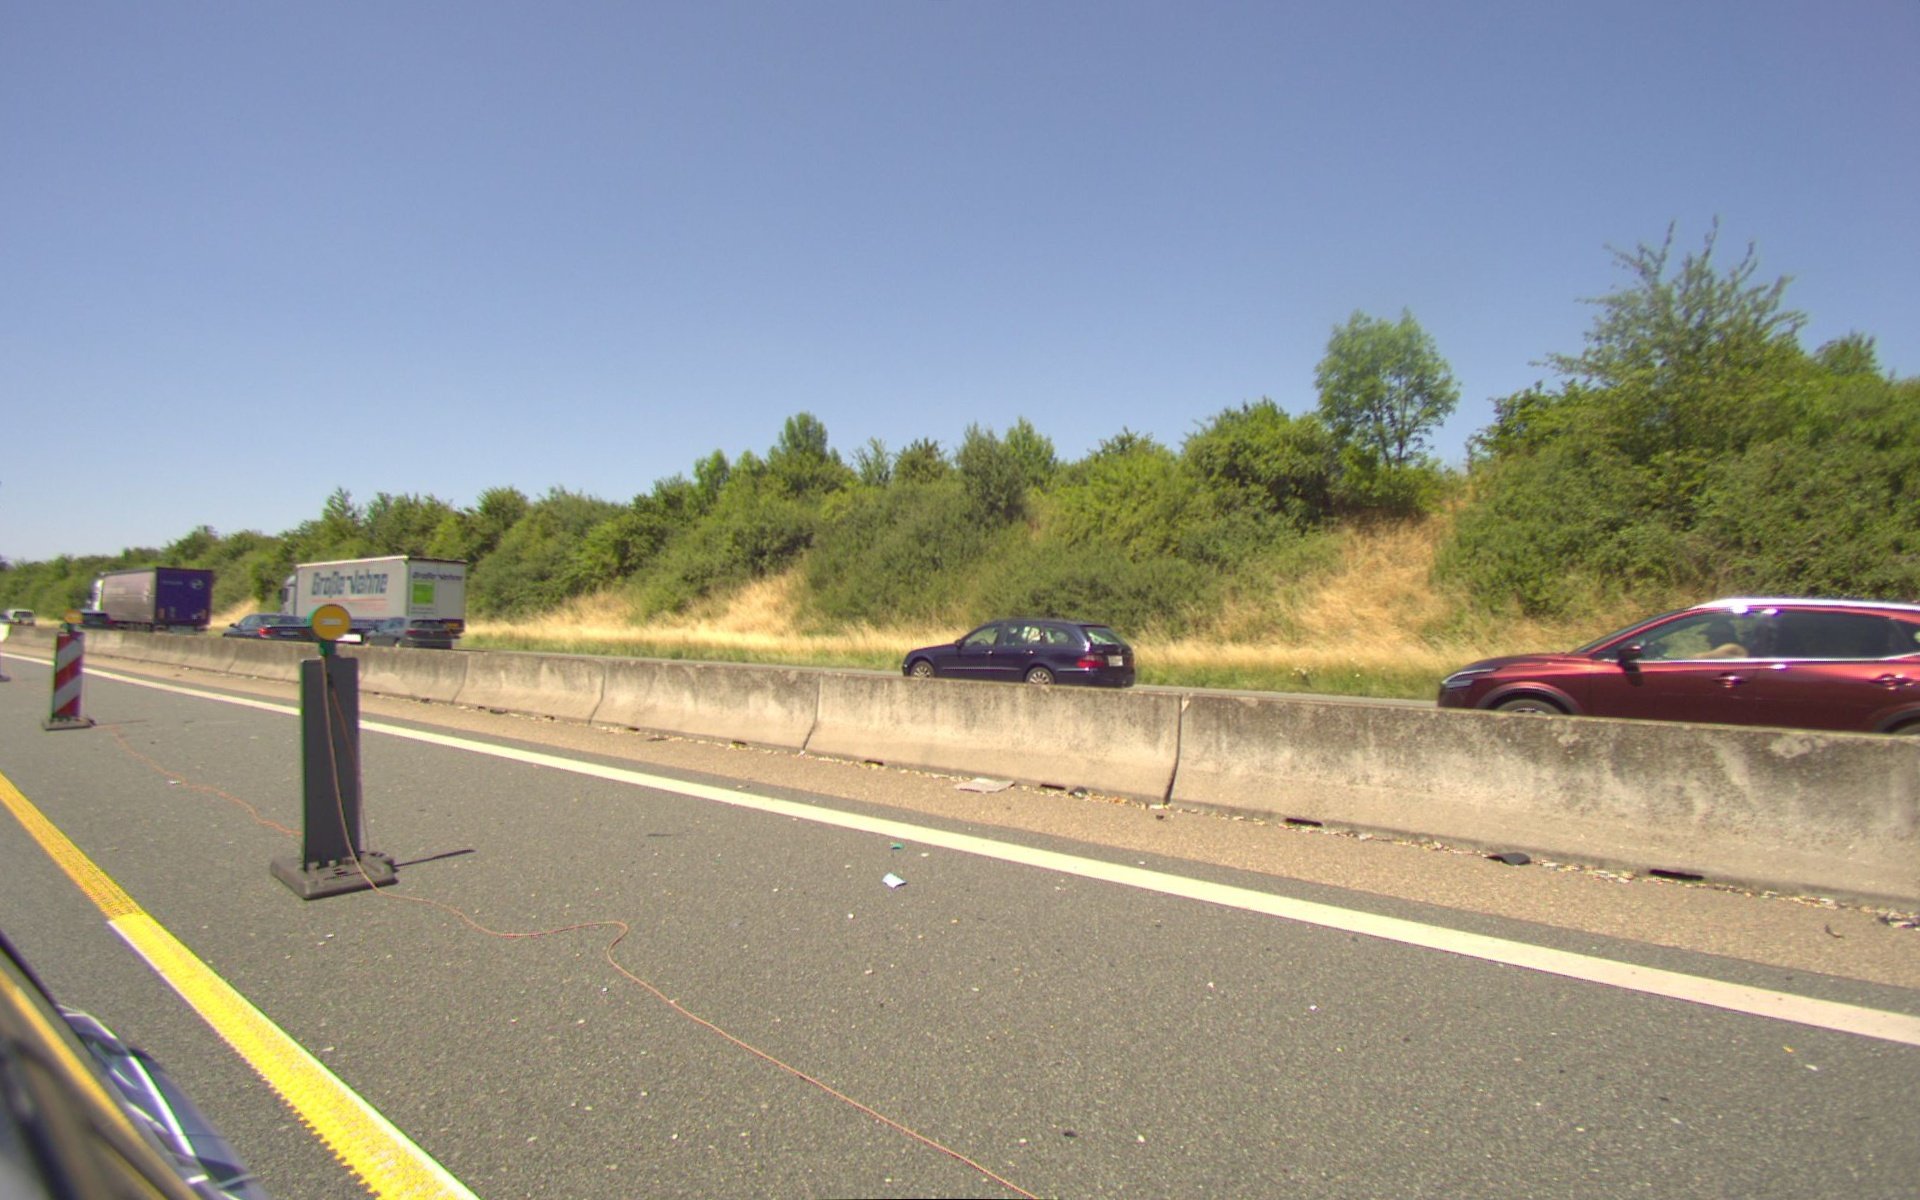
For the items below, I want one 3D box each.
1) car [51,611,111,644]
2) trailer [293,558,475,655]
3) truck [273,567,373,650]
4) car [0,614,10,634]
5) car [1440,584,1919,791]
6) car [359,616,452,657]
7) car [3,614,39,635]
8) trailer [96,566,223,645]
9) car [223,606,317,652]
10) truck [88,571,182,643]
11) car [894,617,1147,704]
[{"bbox_3d":[-47.840,1.466,55.071,4.393,1.727,1.823,-1,-2,41],"label":"car"},{"bbox_3d":[-27.828,0.393,48.415,13.627,4.093,2.923,-1,-3,40],"label":"trailer"},{"bbox_3d":[-33.541,0.495,53.230,5.192,4.108,2.916,-1,-2,40],"label":"truck"},{"bbox_3d":[-71.848,1.779,74.890,4.632,1.482,1.744,-1,-2,41],"label":"car"},{"bbox_3d":[6.689,0.650,8.502,4.486,1.471,1.830,-1,-2,41],"label":"car"},{"bbox_3d":[-19.888,1.275,36.233,4.085,1.407,1.488,-1,-2,39],"label":"car"},{"bbox_3d":[-84.687,2.216,91.225,5.453,1.806,1.846,-1,-2,42],"label":"car"},{"bbox_3d":[-47.300,0.393,59.542,13.673,4.212,3.128,-1,-2,40],"label":"trailer"},{"bbox_3d":[-23.470,0.966,34.364,3.986,1.453,1.600,-1,-2,40],"label":"car"},{"bbox_3d":[-51.301,0.473,62.889,7.408,4.257,3.132,-1,-2,40],"label":"truck"},{"bbox_3d":[1.067,1.067,19.374,4.583,1.471,1.973,-1,-2,41],"label":"car"}]
